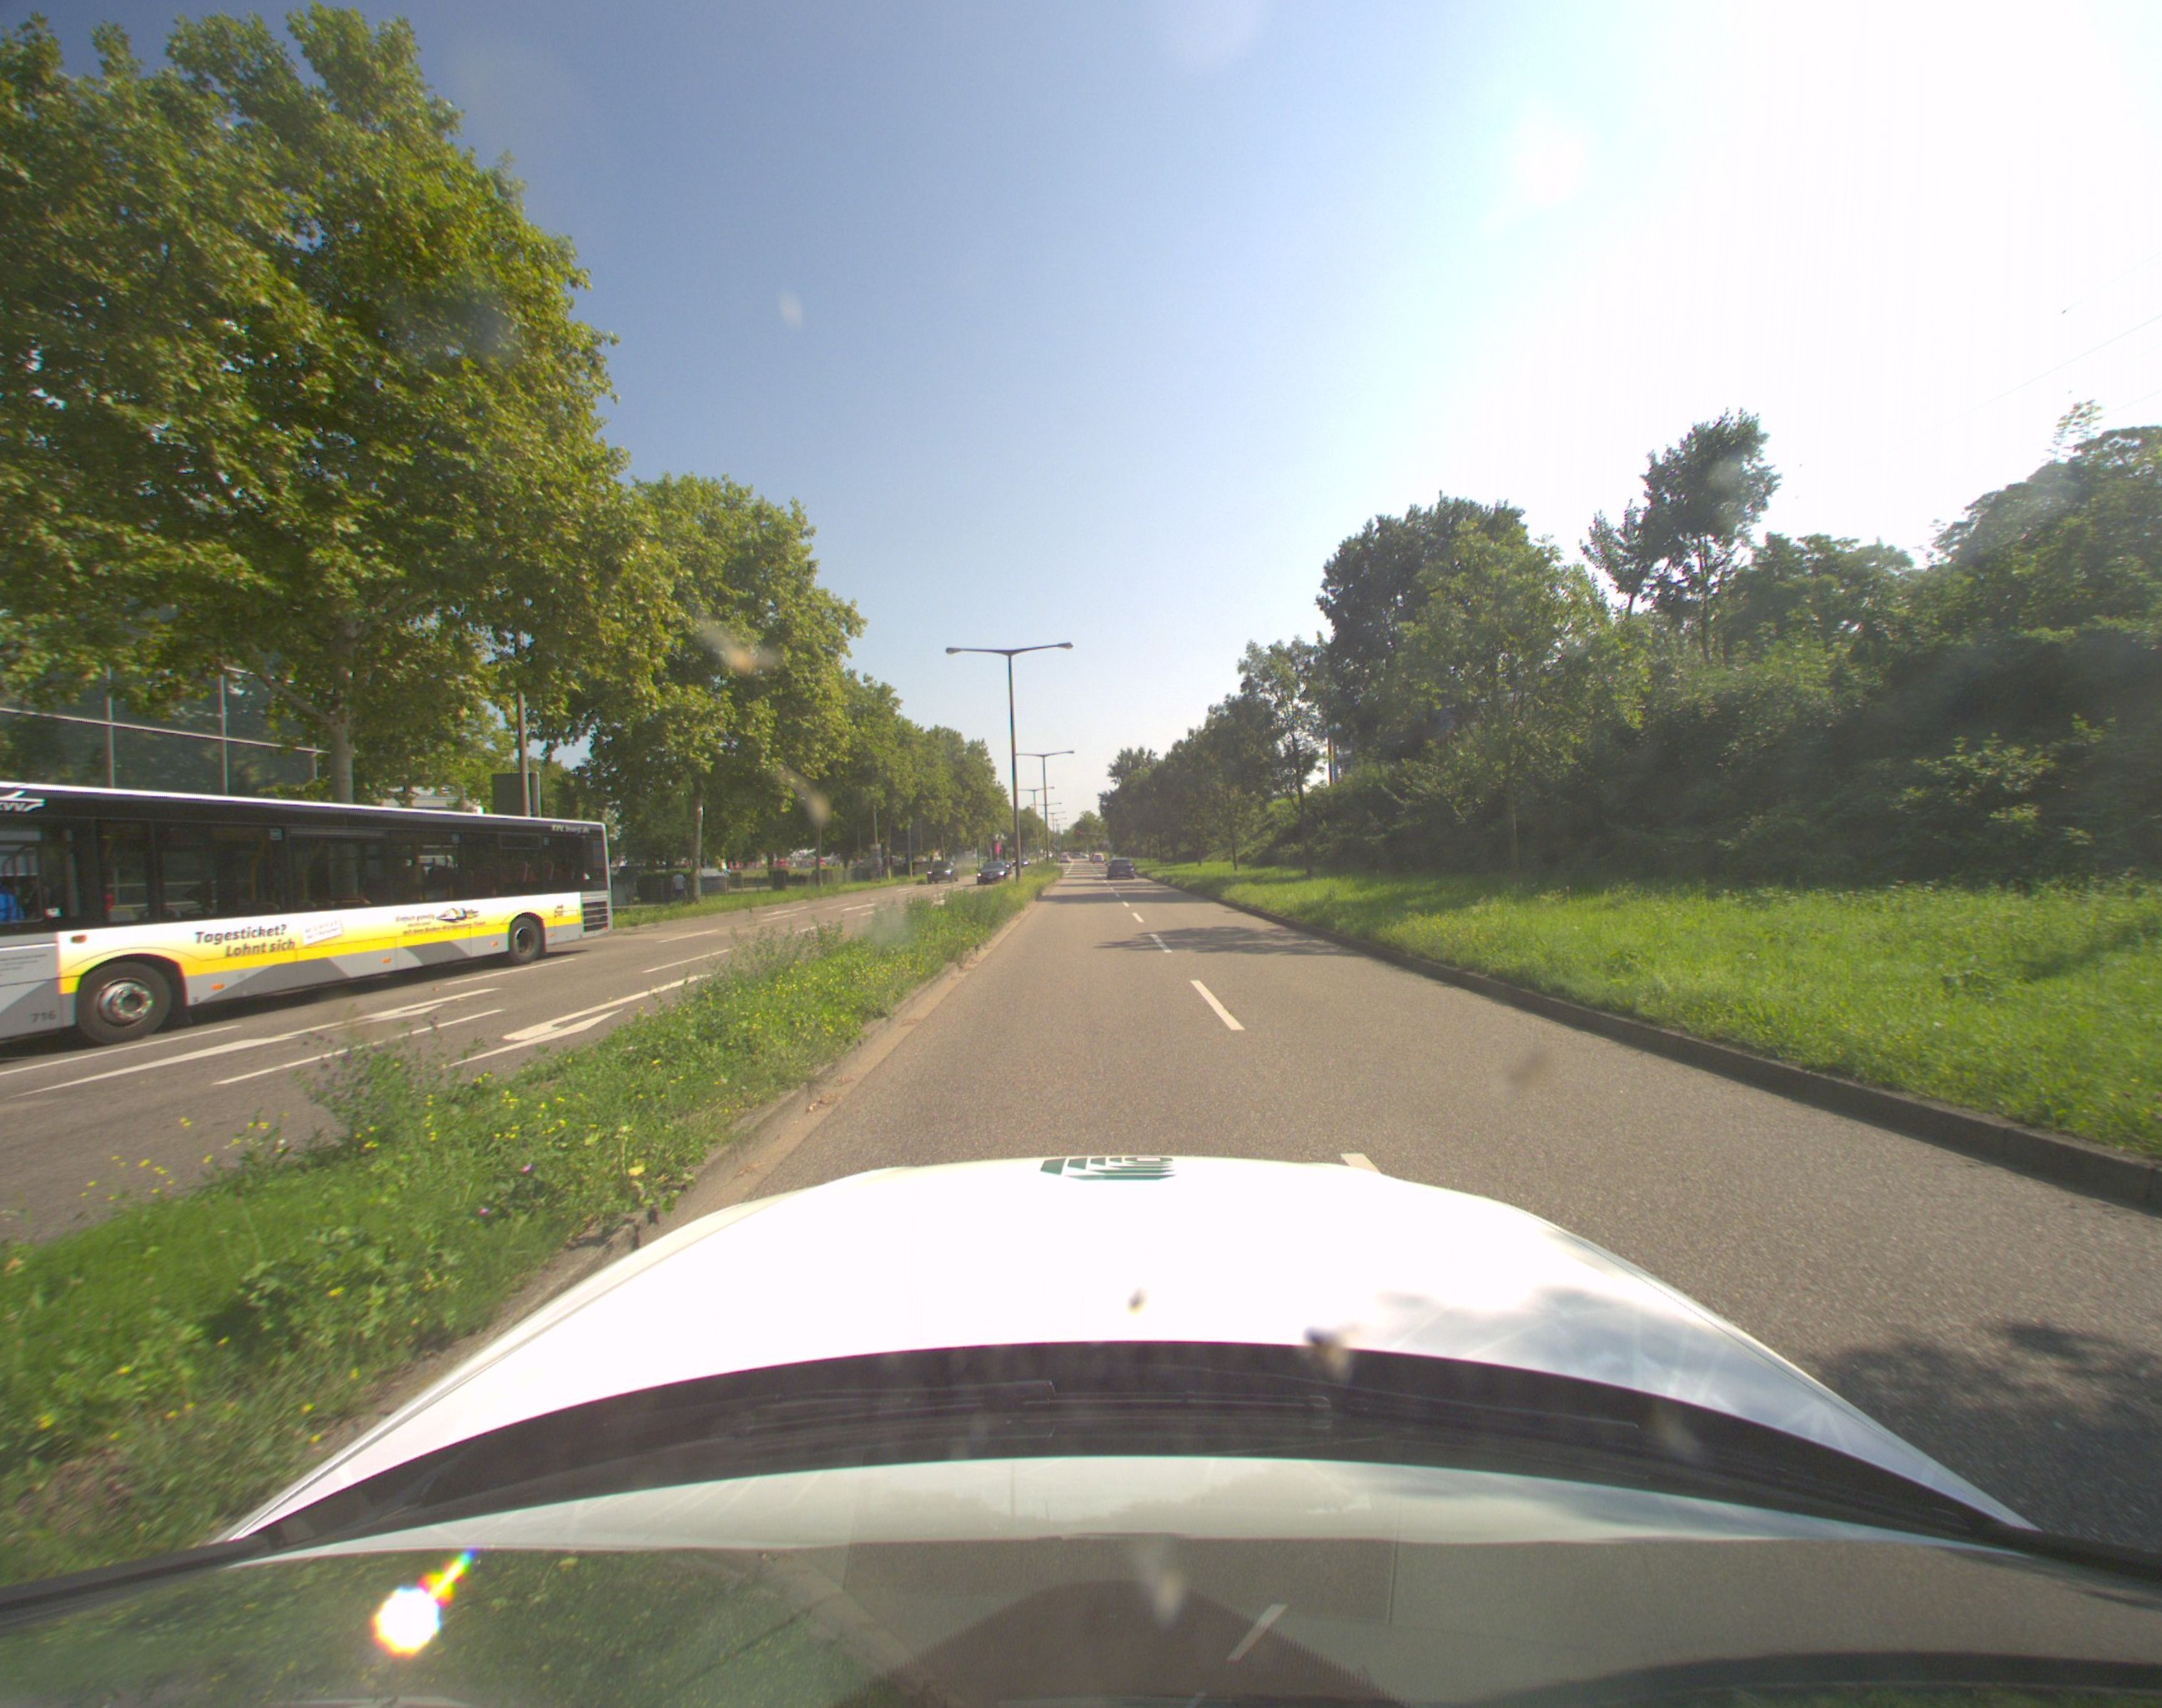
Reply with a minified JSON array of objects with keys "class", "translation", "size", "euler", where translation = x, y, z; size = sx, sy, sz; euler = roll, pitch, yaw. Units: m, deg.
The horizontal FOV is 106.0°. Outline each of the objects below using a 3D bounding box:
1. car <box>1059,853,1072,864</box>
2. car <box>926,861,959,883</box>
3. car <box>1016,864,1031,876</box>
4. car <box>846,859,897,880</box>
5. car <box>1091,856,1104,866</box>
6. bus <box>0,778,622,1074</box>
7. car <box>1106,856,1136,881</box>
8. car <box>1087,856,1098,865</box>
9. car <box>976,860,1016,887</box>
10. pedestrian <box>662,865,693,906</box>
[{"class":"car","translation":[-2.741,0.770,143.397],"size":[1.985,1.702,4.003],"euler":[-3,-1,3]},{"class":"car","translation":[-10.640,1.364,62.899],"size":[1.840,1.605,4.608],"euler":[-2,0,-1]},{"class":"car","translation":[-7.976,2.214,113.256],"size":[1.988,1.585,4.343],"euler":[-2,0,-2]},{"class":"car","translation":[-25.495,1.856,99.250],"size":[5.569,2.336,2.277],"euler":[-1,2,-2]},{"class":"car","translation":[2.754,1.161,137.797],"size":[1.987,1.654,3.999],"euler":[-3,-1,-1]},{"class":"bus","translation":[-11.187,0.786,11.912],"size":[2.654,2.694,10.902],"euler":[-4,-1,0]},{"class":"car","translation":[2.665,0.945,54.862],"size":[1.775,1.427,4.000],"euler":[-1,2,0]},{"class":"car","translation":[2.343,1.361,165.473],"size":[1.988,1.654,3.998],"euler":[-2,2,-2]},{"class":"car","translation":[-5.230,1.151,50.461],"size":[1.839,1.490,4.643],"euler":[-4,0,0]},{"class":"pedestrian","translation":[-21.131,1.634,42.648],"size":[1.252,2.013,1.022],"euler":[1,3,42]}]
